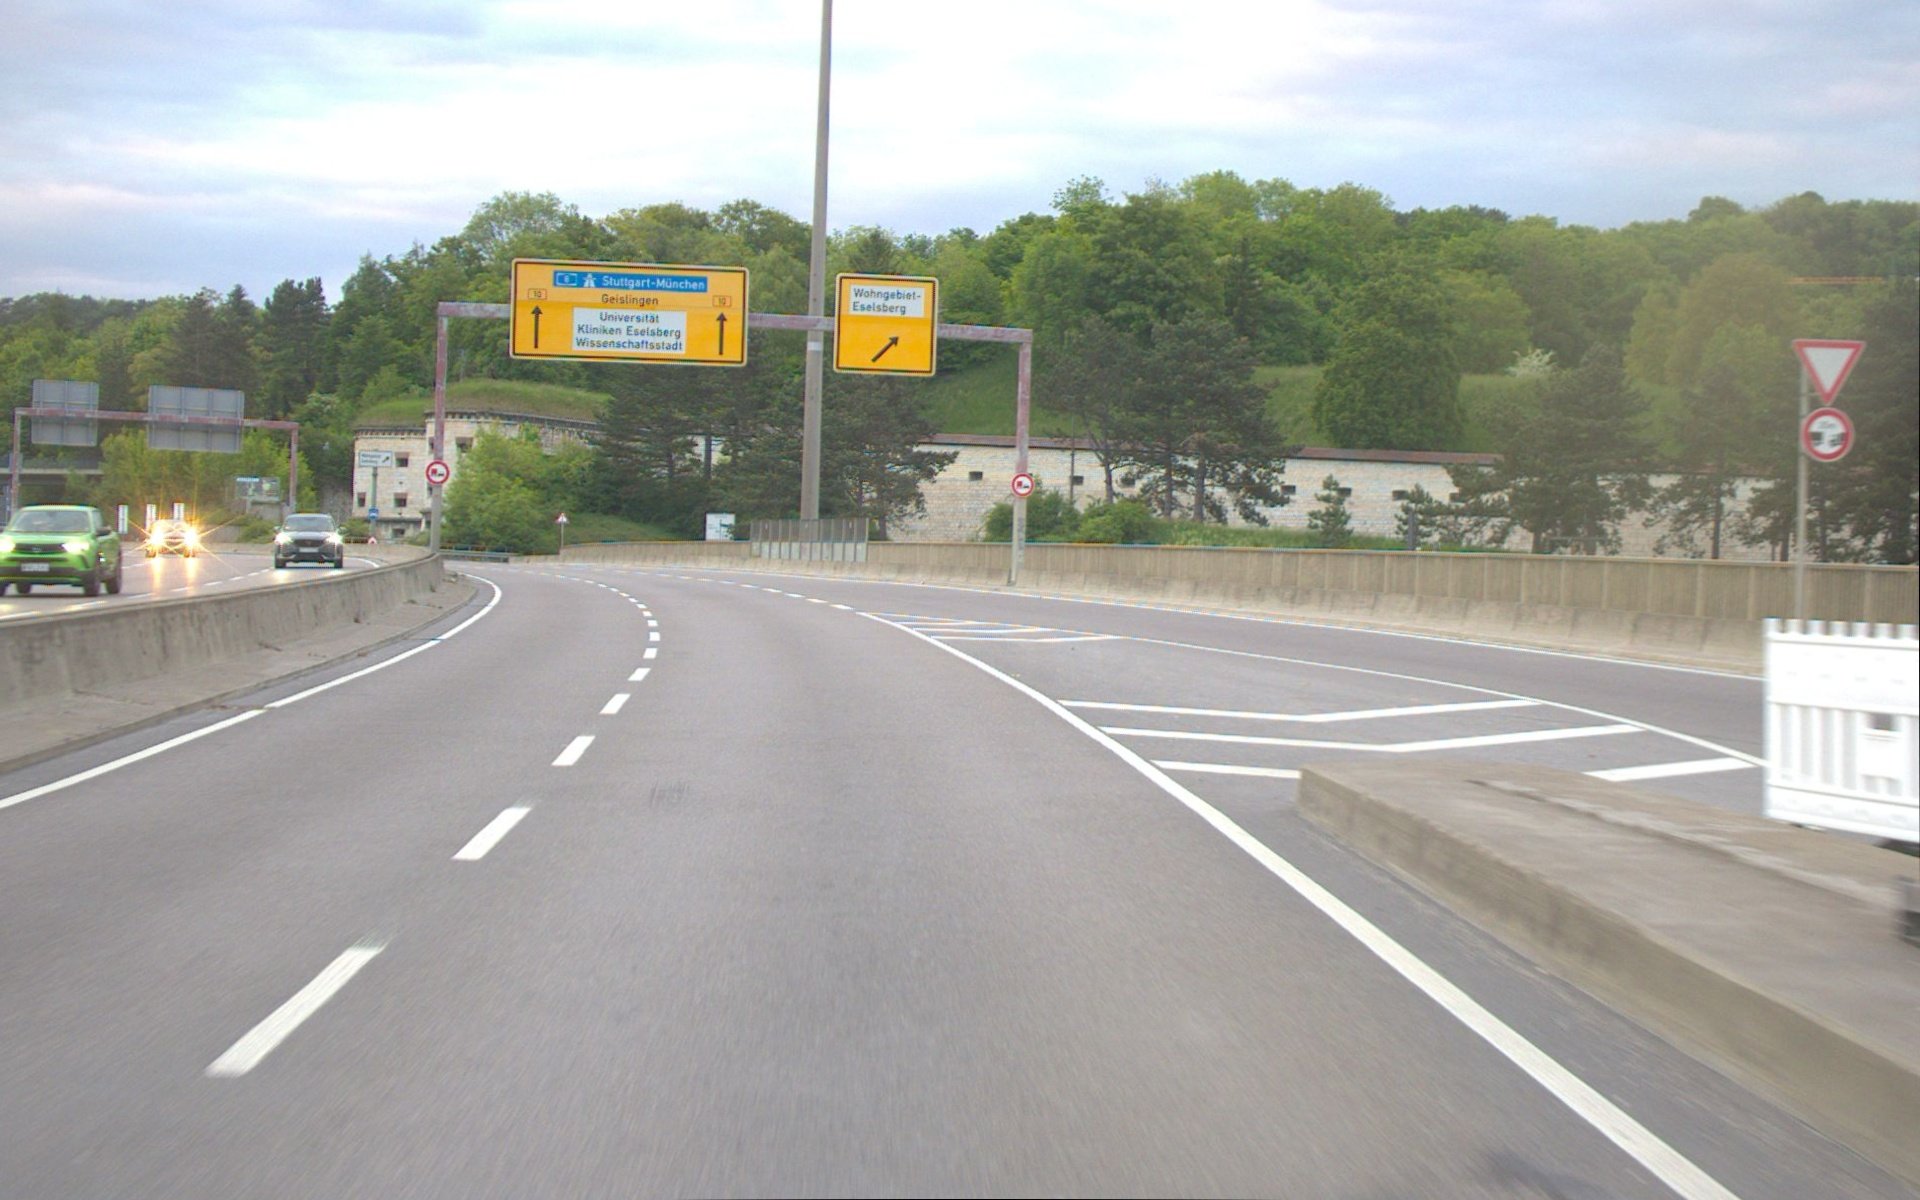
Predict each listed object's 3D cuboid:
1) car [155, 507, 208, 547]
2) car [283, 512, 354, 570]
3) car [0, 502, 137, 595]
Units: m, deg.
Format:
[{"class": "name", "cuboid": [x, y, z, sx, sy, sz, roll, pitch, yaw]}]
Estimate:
[{"class": "car", "cuboid": [-29.896, -2.819, 131.911, 1.730, 1.471, 4.225, 1, 1, -16]}, {"class": "car", "cuboid": [-17.673, -1.642, 94.872, 1.810, 1.529, 4.547, 1, 1, -9]}, {"class": "car", "cuboid": [-15.268, -0.890, 58.386, 1.710, 1.489, 4.081, 2, 1, -2]}]
